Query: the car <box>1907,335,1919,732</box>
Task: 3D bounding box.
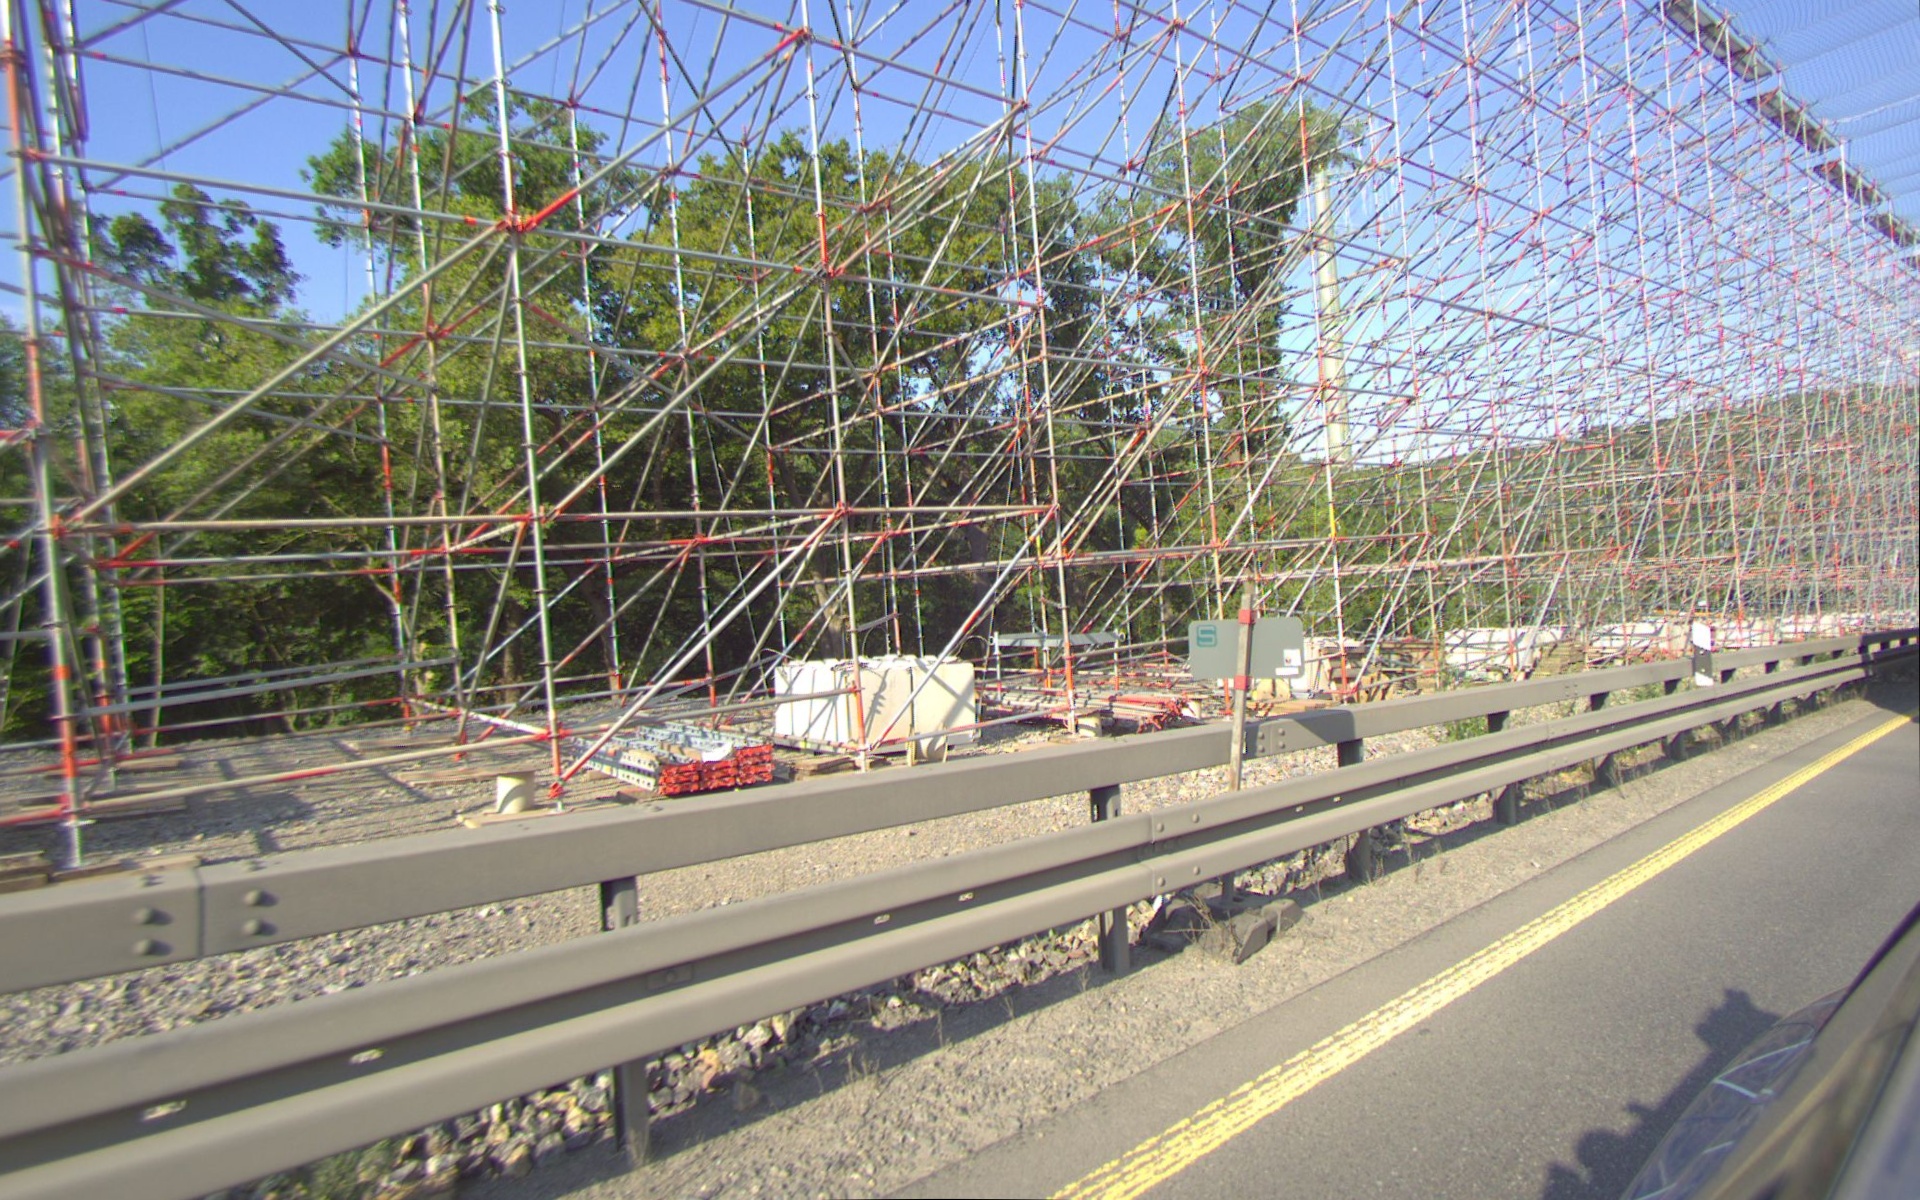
[{"bbox_3d":[14.034,-0.732,12.140,8.132,4.167,2.857,-1,0,-39],"label":"car"}]
